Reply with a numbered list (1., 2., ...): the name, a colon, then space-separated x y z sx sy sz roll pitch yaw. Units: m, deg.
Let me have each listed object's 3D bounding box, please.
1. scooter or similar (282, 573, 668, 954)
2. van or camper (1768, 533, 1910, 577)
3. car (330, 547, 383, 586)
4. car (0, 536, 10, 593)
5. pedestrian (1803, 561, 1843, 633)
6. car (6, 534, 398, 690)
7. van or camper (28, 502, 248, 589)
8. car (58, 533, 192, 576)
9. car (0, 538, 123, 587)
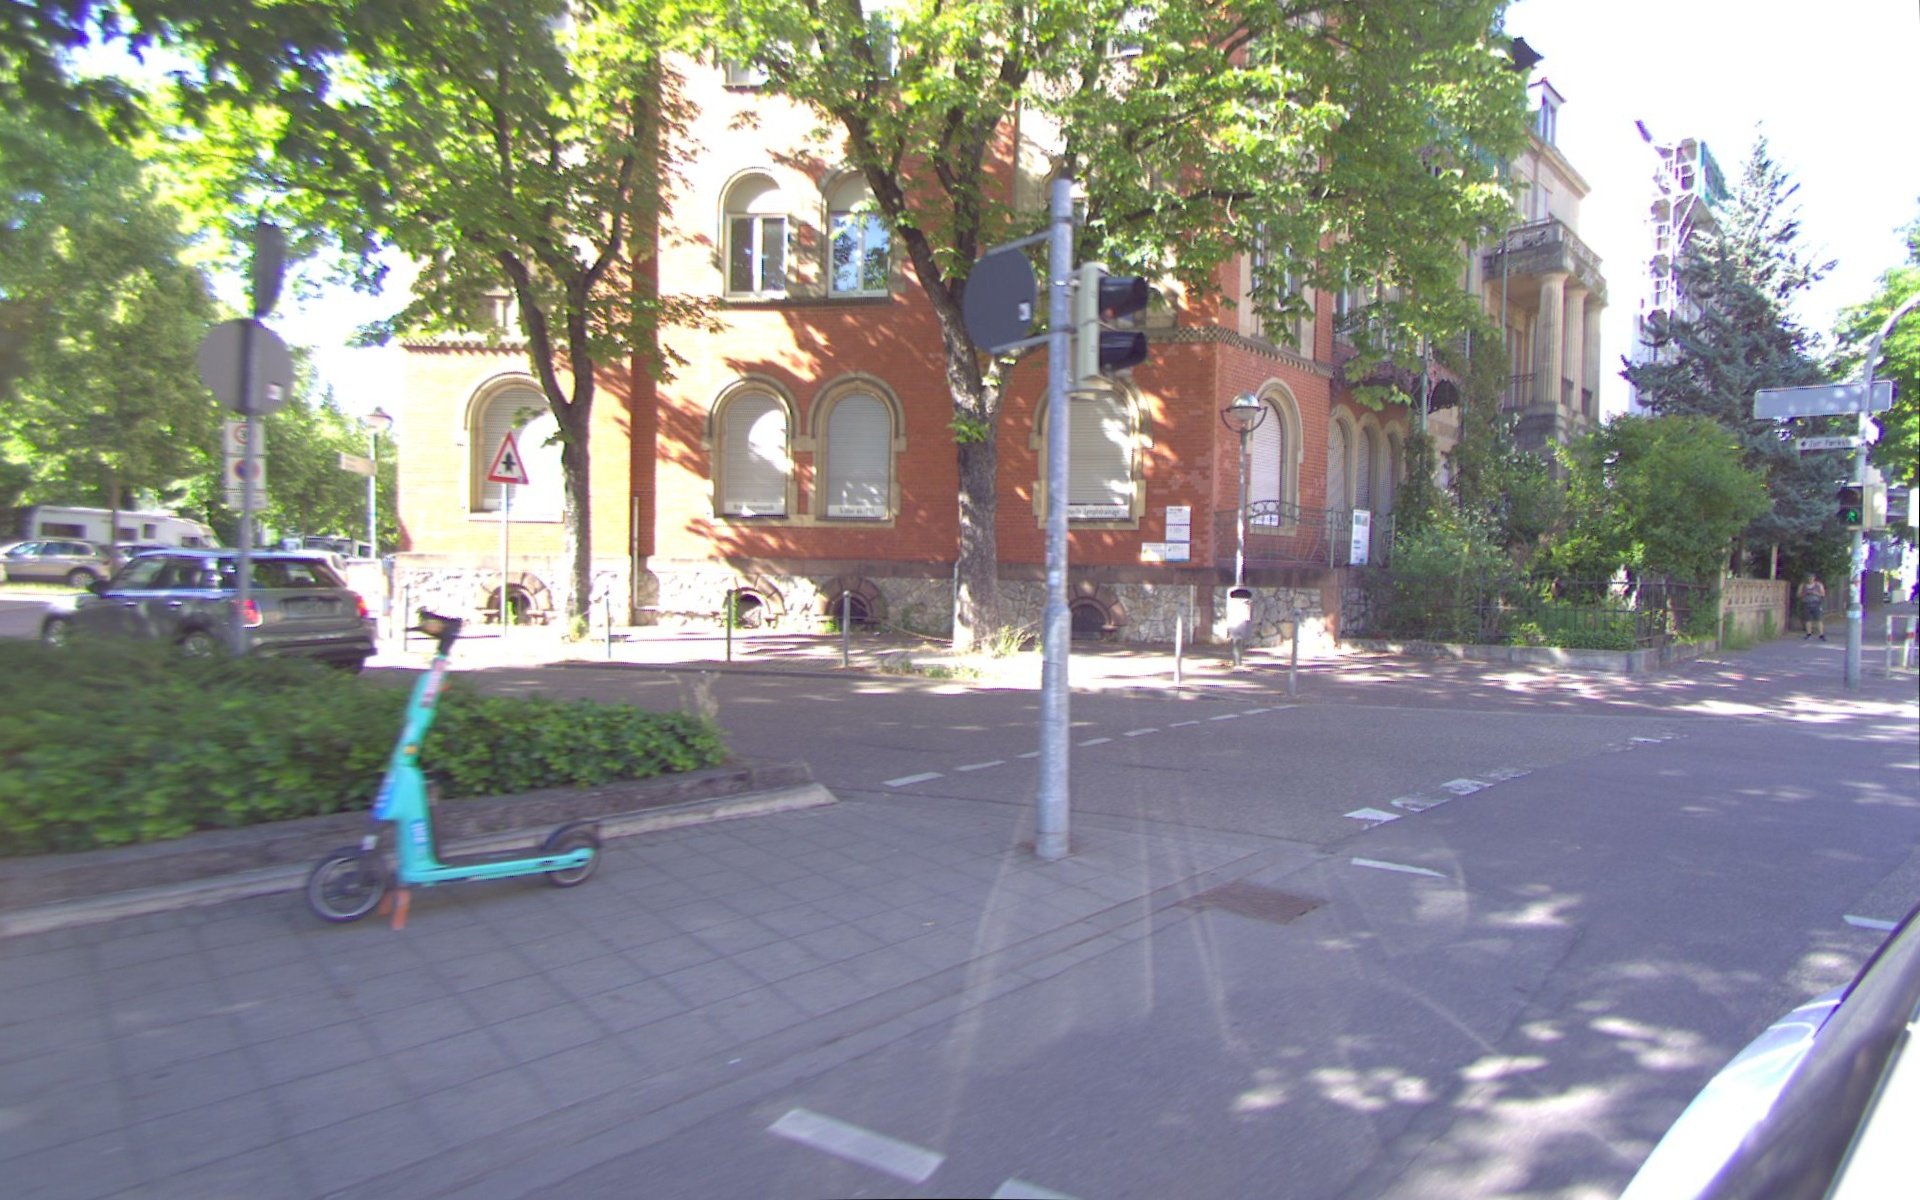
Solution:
1. scooter or similar: -1.998 0.559 4.251 1.307 1.326 0.677 -2 2 -43
2. van or camper: 56.500 -2.844 65.294 2.078 2.659 6.753 -1 2 -19
3. car: -28.331 -1.583 47.619 1.788 1.771 4.007 -1 2 -26
4. car: -26.690 -0.887 25.507 3.728 1.495 1.604 -2 2 -32
5. pedestrian: 20.982 -0.080 24.610 0.636 1.691 0.593 -2 4 -42
6. car: -8.544 0.081 11.427 3.955 1.506 1.808 0 2 23
7. van or camper: -34.088 -2.255 42.330 6.638 3.427 2.635 -1 2 -25
8. car: -31.698 -1.723 38.550 3.728 1.544 1.604 -2 2 -32
9. car: -29.936 -1.225 33.097 3.728 1.544 1.604 -2 2 -32
